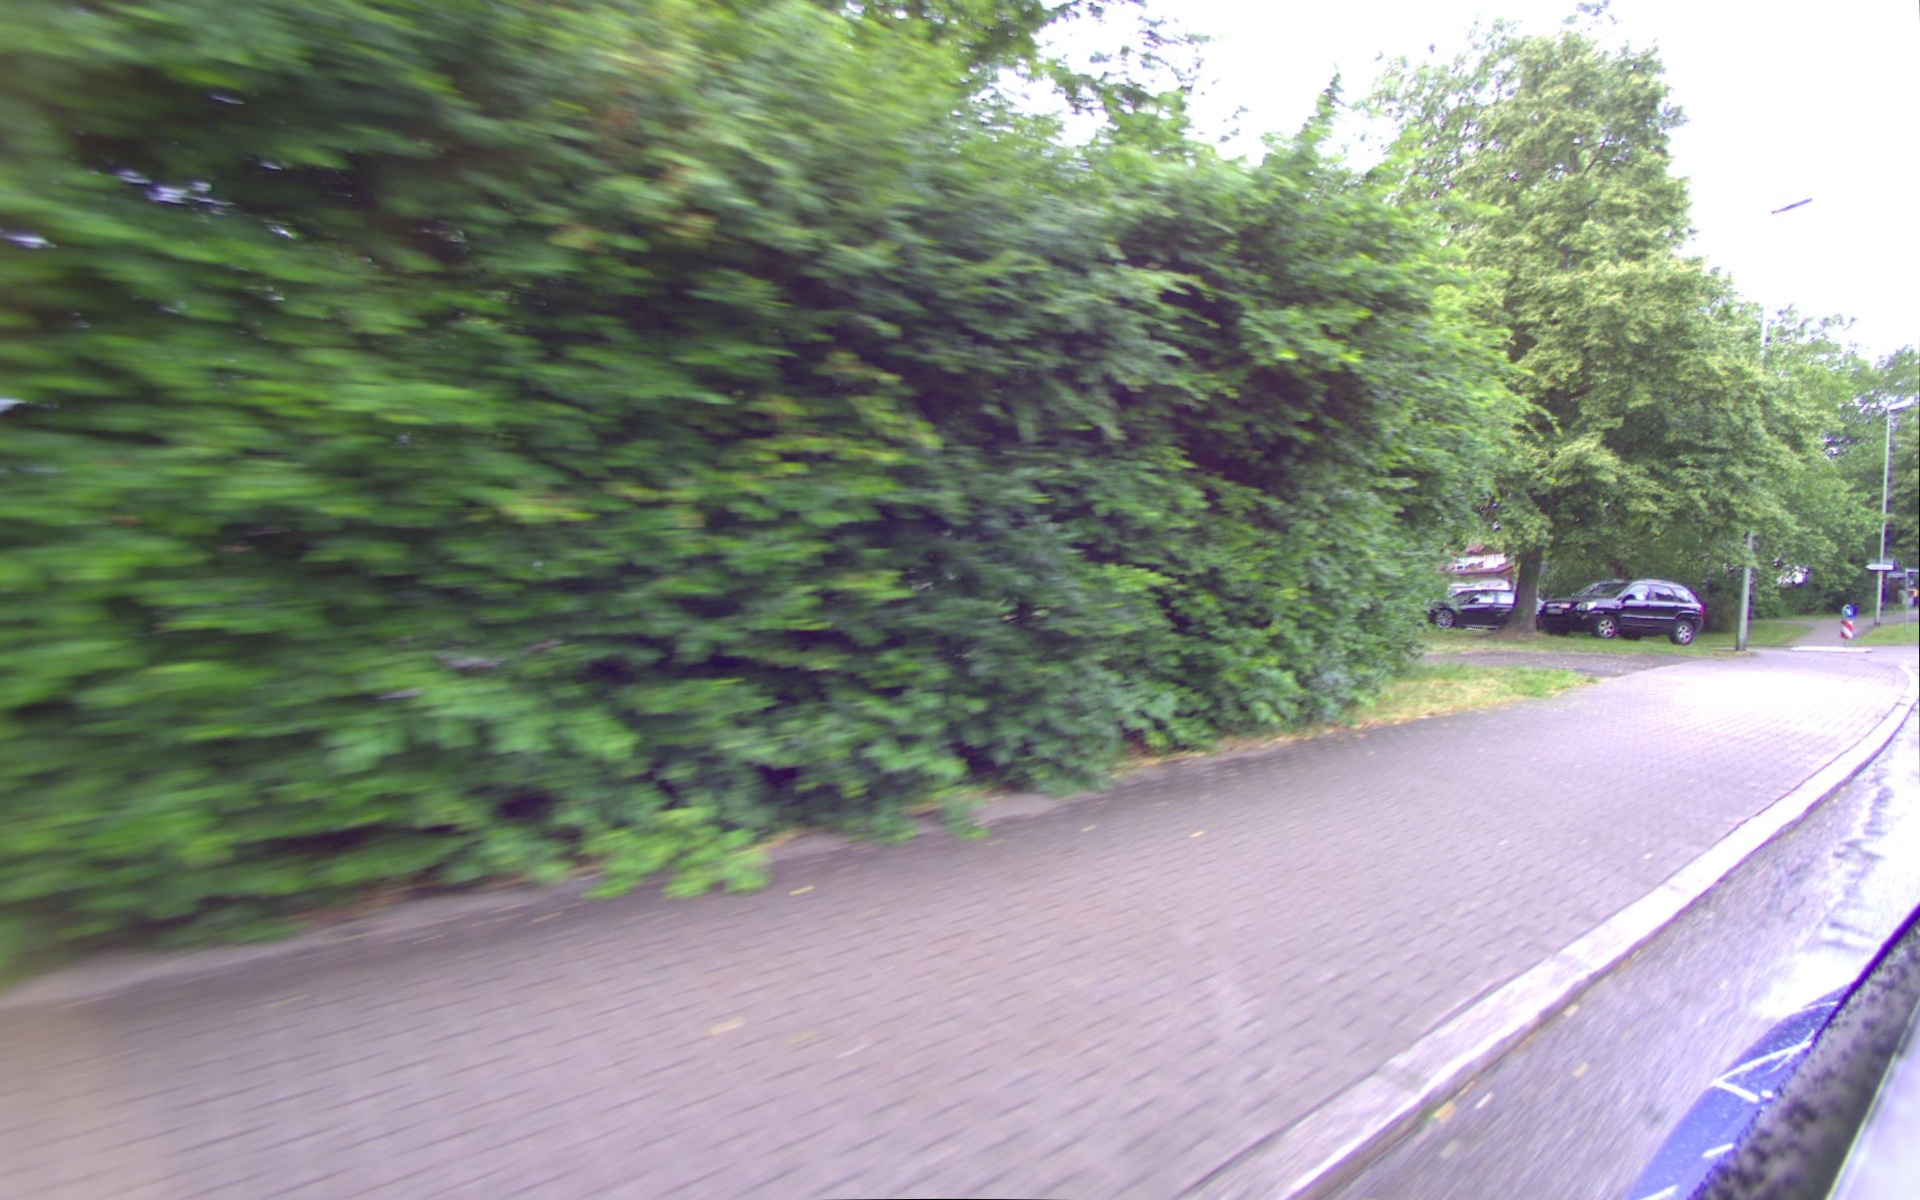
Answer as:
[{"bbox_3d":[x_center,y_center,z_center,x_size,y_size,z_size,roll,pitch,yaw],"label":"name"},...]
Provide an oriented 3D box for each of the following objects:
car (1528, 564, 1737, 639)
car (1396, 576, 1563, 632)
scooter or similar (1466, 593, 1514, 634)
[{"bbox_3d":[18.370,0.055,27.695,4.800,1.711,1.958,3,0,-13],"label":"car"},{"bbox_3d":[16.844,0.140,32.914,4.475,1.488,1.758,4,-1,-4],"label":"car"},{"bbox_3d":[18.438,0.451,35.232,1.335,1.301,0.553,4,4,43],"label":"scooter or similar"}]
